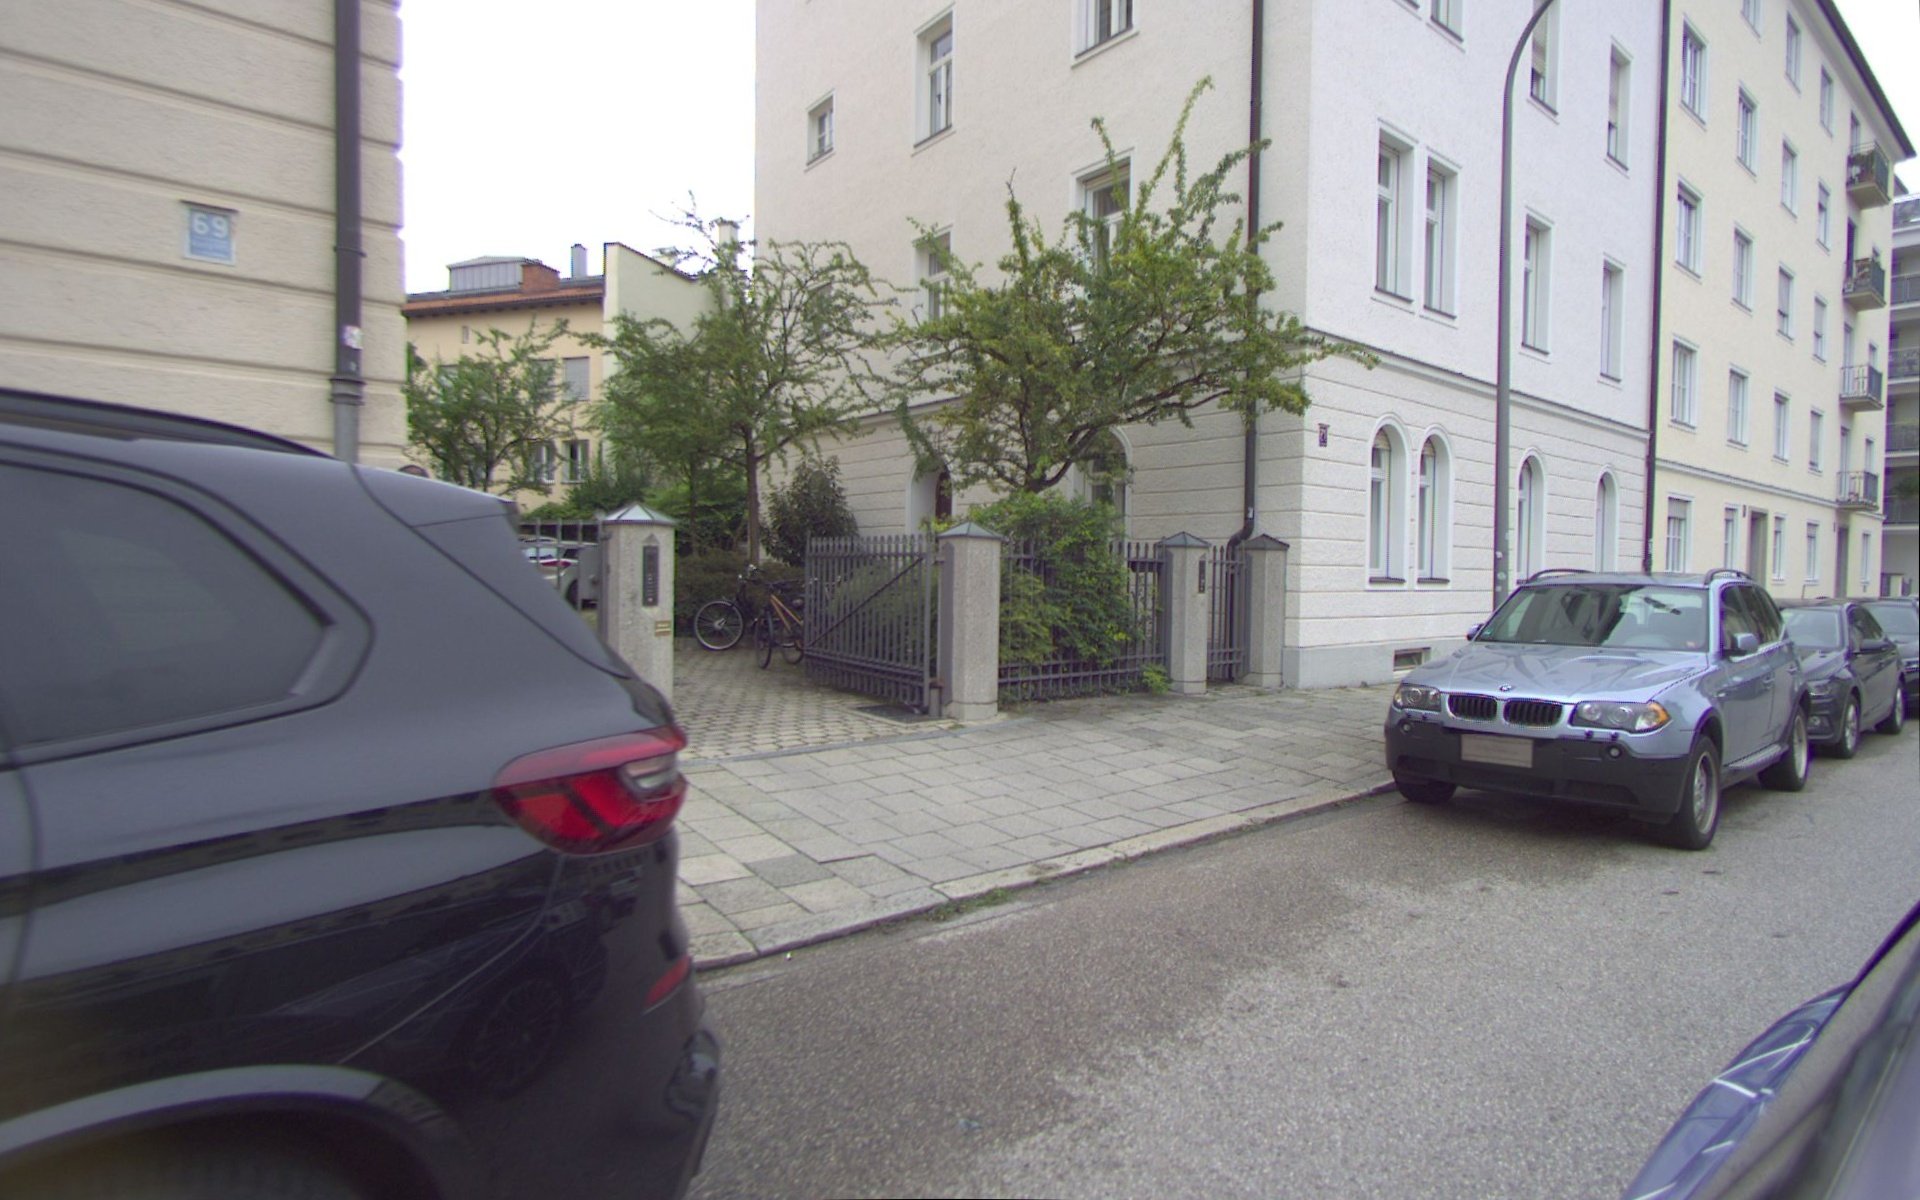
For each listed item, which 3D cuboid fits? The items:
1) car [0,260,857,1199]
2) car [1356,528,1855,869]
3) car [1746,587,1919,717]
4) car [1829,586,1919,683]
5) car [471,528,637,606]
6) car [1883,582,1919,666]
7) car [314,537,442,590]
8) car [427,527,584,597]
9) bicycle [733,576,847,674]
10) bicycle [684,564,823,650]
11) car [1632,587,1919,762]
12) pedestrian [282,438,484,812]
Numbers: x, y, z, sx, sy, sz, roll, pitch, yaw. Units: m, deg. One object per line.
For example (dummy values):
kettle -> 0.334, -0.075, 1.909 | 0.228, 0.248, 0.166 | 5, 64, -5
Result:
car -> -2.561, 0.505, 1.043 | 4.603, 1.752, 1.931 | 1, -1, -40
car -> 4.808, 0.462, 7.270 | 4.312, 1.752, 1.781 | -1, 1, -40
car -> 12.129, 0.570, 13.479 | 4.451, 1.432, 1.800 | -1, 1, -41
car -> 16.454, 0.511, 17.244 | 4.573, 1.452, 1.840 | -1, 1, -41
car -> -8.831, -0.707, 22.338 | 1.649, 1.563, 3.672 | 2, 1, 12
car -> 20.244, 0.436, 20.481 | 4.193, 1.566, 1.840 | -1, 1, -41
car -> -17.778, -1.075, 30.879 | 3.821, 1.482, 1.763 | 0, 1, 31
car -> -10.944, -0.878, 24.645 | 1.649, 1.564, 3.672 | -1, 1, 12
bicycle -> -2.032, 0.263, 11.968 | 1.542, 1.057, 0.424 | 3, 3, 40
bicycle -> -2.889, 0.082, 14.260 | 1.894, 1.153, 0.358 | -1, 0, -30
car -> 8.729, 0.623, 10.630 | 3.984, 1.460, 1.707 | -1, 1, -40
pedestrian -> -2.930, 0.112, 5.206 | 0.679, 1.782, 0.686 | -1, 0, -8
